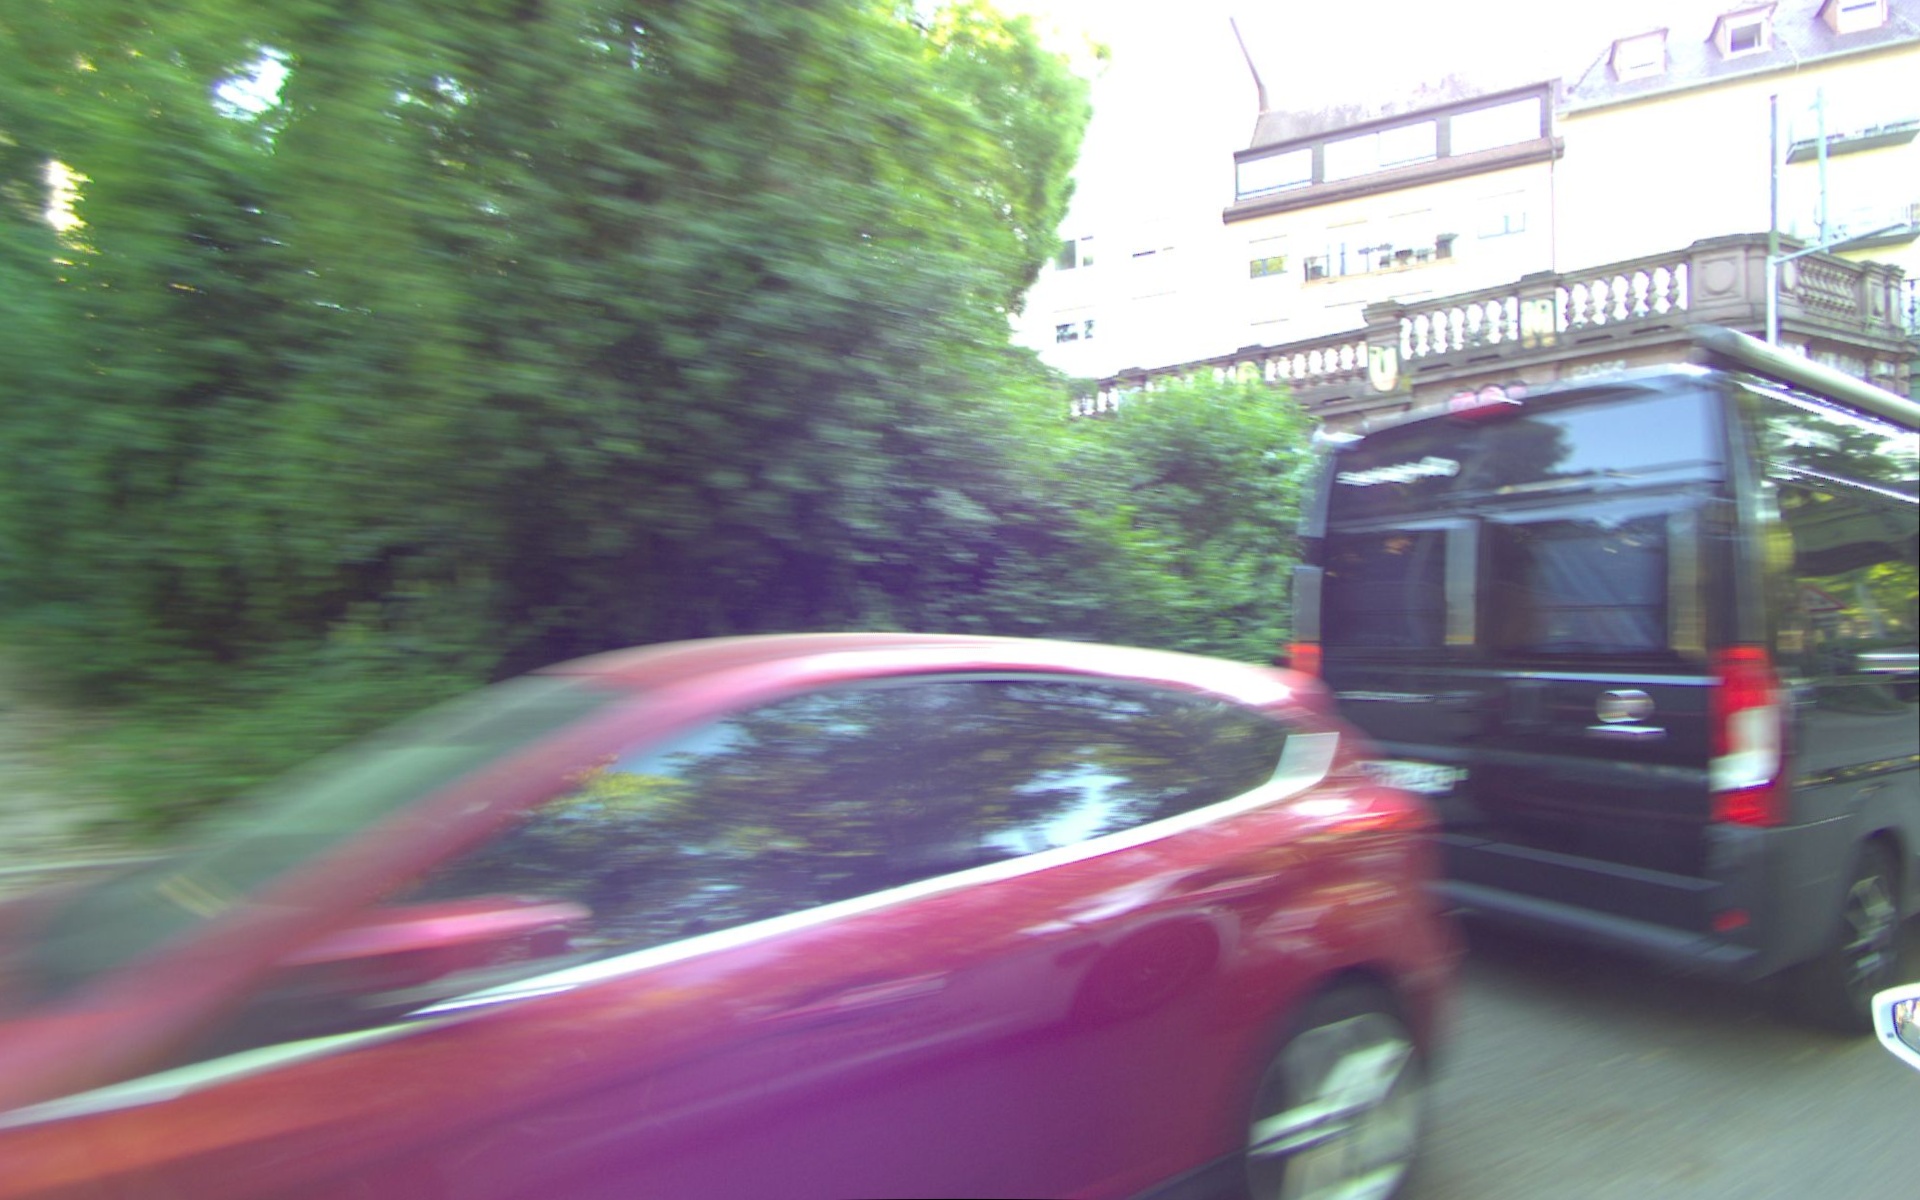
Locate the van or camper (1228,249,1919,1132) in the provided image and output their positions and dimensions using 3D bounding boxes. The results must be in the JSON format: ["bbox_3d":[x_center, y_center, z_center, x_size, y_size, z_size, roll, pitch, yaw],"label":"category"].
[{"bbox_3d":[4.552,0.290,5.563,6.350,2.556,2.223,1,0,-32],"label":"van or camper"}]

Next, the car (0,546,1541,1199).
[{"bbox_3d":[-0.650,0.749,2.382,4.180,1.527,1.691,1,-3,-31],"label":"car"}]

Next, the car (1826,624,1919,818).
[{"bbox_3d":[9.418,0.975,8.719,4.328,1.486,1.734,1,0,-33],"label":"car"}]
